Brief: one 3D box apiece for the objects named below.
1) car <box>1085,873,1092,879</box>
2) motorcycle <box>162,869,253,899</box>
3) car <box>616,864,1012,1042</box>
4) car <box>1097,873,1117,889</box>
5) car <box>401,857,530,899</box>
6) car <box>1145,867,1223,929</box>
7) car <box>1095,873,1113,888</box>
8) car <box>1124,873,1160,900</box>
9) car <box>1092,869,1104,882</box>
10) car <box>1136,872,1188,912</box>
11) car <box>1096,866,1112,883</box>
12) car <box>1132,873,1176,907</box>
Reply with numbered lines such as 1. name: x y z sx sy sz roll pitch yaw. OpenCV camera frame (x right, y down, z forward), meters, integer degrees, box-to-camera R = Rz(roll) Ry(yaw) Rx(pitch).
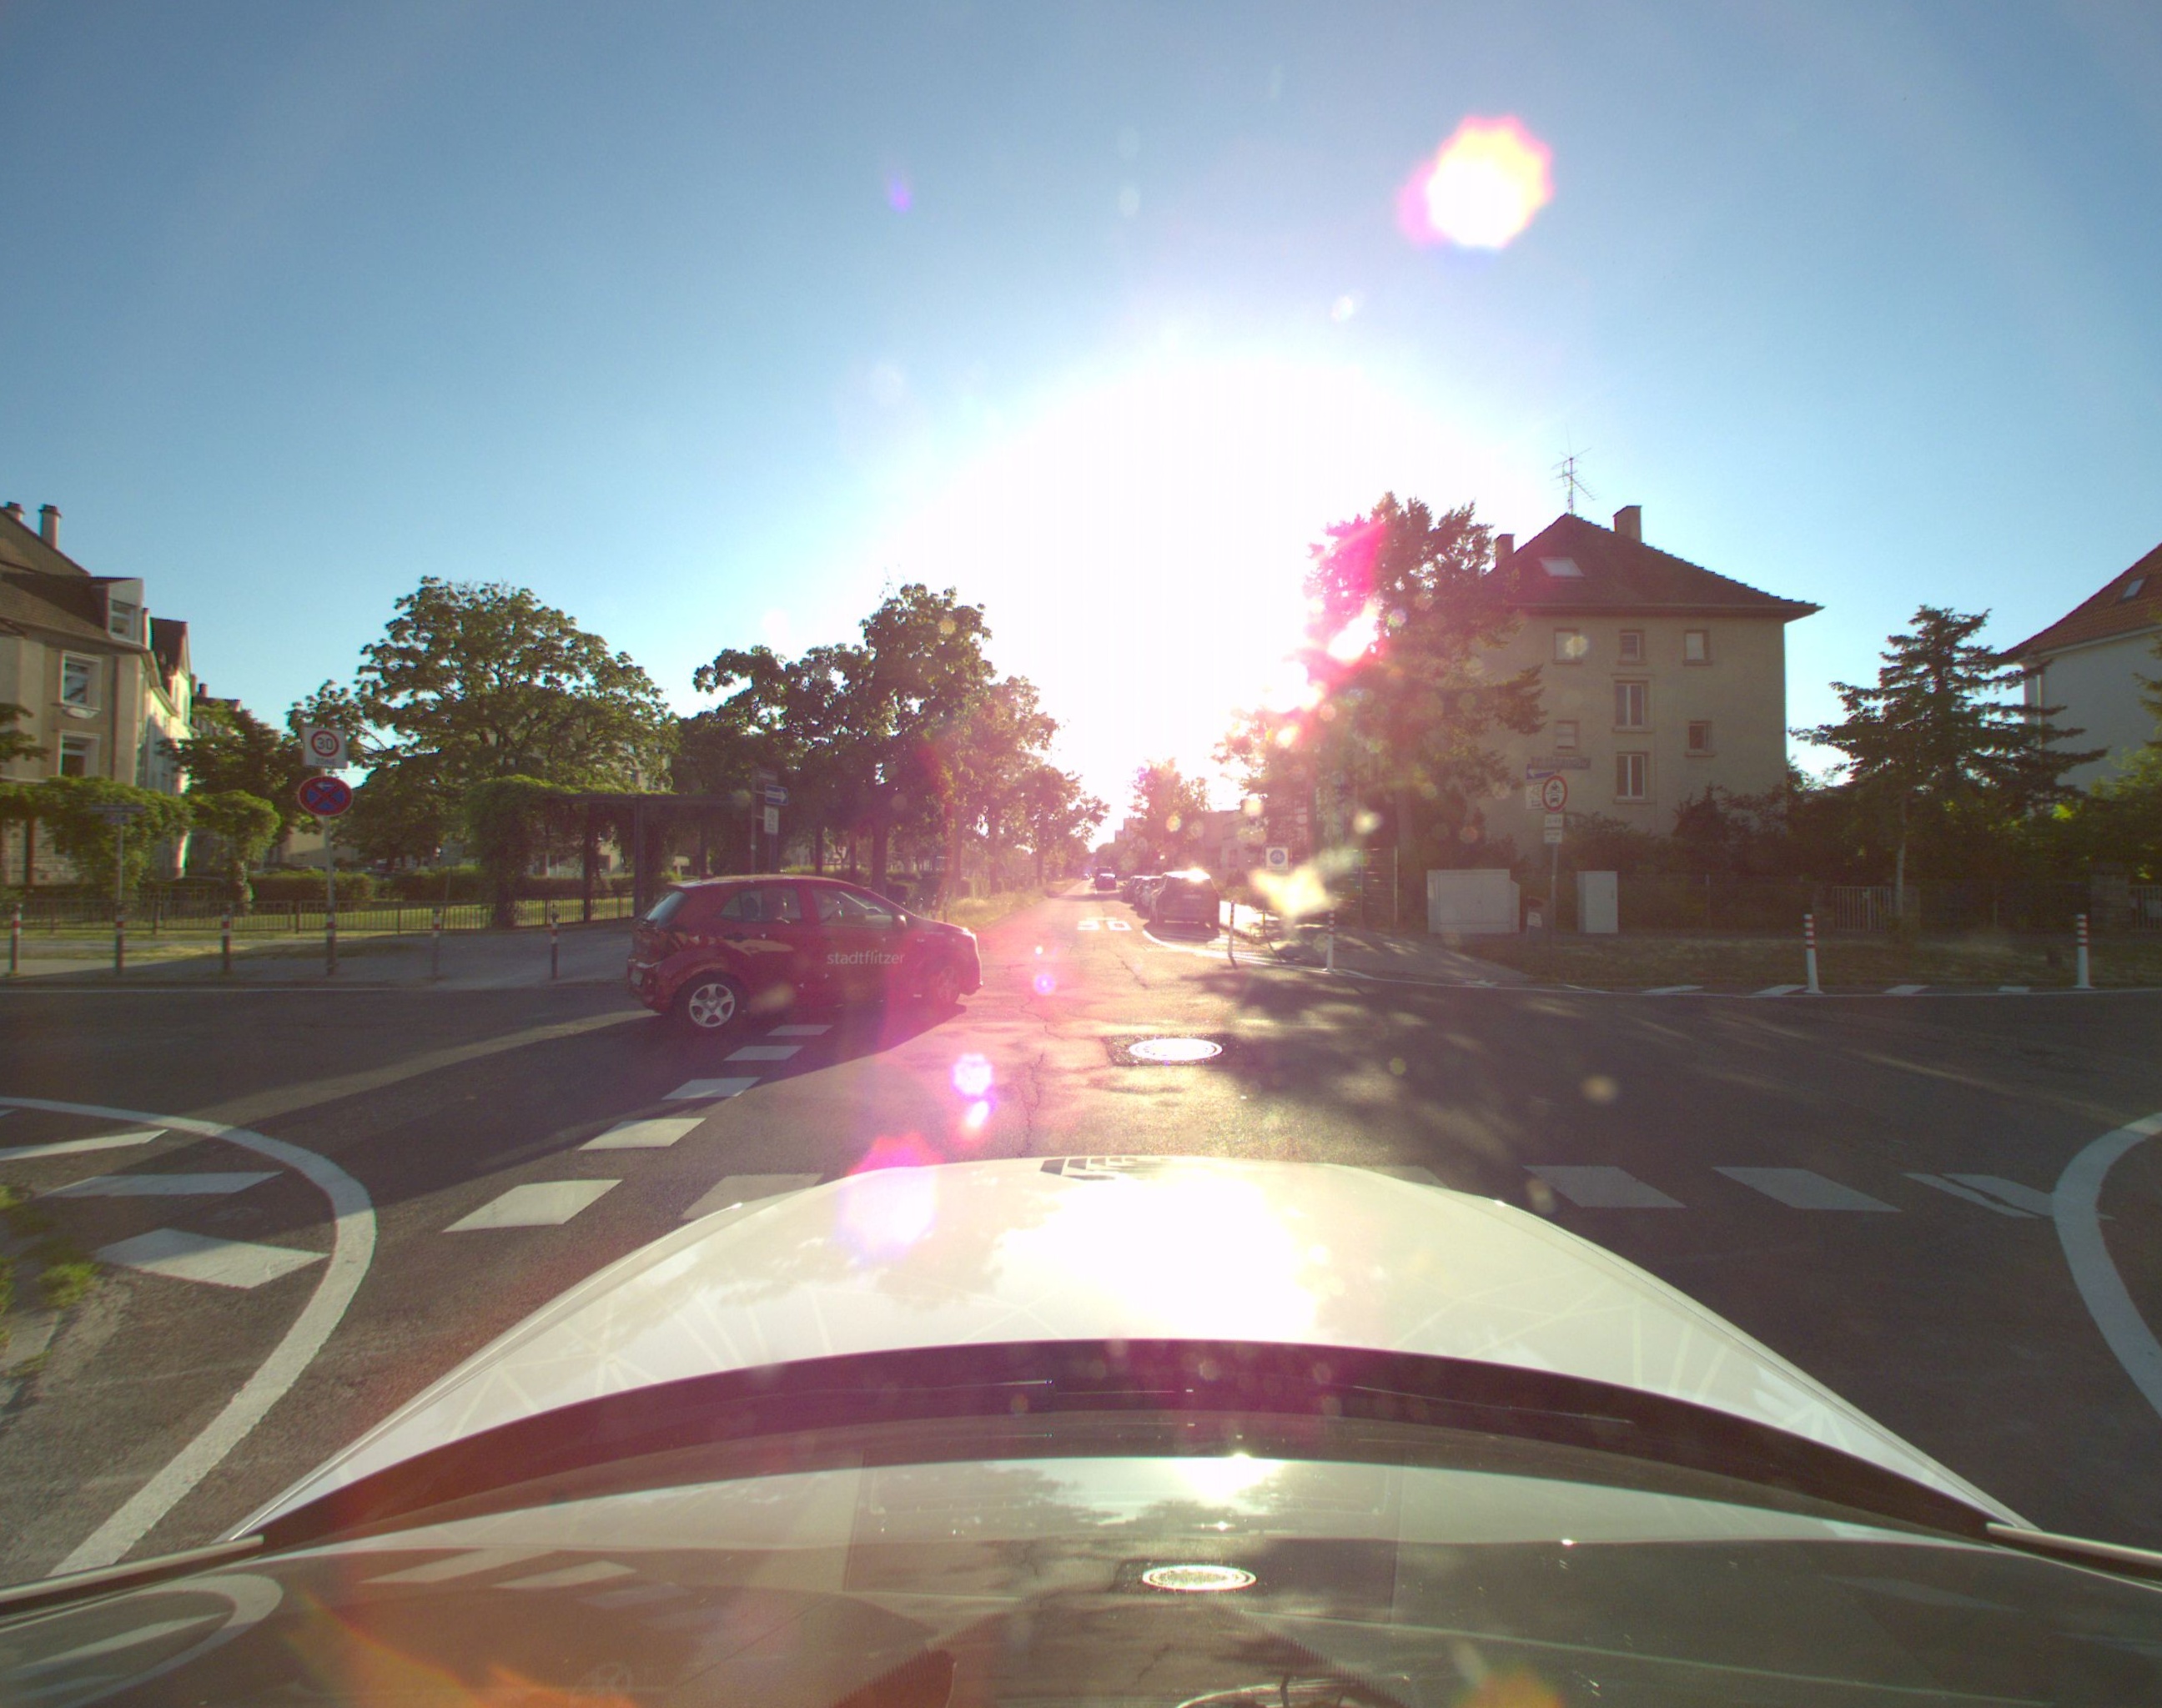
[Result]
1. car: 2.015 6.148 229.966 1.860 1.618 3.998 0 -1 -1
2. motorcycle: -44.871 1.543 41.870 3.222 1.487 0.850 -1 -2 -12
3. car: -2.835 0.899 8.954 3.790 1.526 1.751 0 -2 -37
4. car: 2.600 2.727 82.685 1.752 1.518 3.757 0 -1 -2
5. car: -41.986 1.606 55.824 6.707 2.745 2.296 1 -2 -29
6. car: 3.043 1.286 24.844 1.811 1.642 4.215 3 -2 0
7. car: 2.417 2.806 87.018 1.725 1.518 3.757 0 -1 -2
8. car: 3.515 1.874 47.742 1.760 1.526 3.771 -1 -2 -1
9. car: 2.958 3.694 139.486 1.986 2.124 4.000 0 -1 1
10. car: 3.274 1.522 33.666 1.759 1.526 3.772 -1 -2 0
11. car: 2.832 2.521 100.266 1.986 2.124 4.000 0 -1 1
12. car: 3.420 1.653 38.572 1.724 1.518 3.758 0 -1 -1
